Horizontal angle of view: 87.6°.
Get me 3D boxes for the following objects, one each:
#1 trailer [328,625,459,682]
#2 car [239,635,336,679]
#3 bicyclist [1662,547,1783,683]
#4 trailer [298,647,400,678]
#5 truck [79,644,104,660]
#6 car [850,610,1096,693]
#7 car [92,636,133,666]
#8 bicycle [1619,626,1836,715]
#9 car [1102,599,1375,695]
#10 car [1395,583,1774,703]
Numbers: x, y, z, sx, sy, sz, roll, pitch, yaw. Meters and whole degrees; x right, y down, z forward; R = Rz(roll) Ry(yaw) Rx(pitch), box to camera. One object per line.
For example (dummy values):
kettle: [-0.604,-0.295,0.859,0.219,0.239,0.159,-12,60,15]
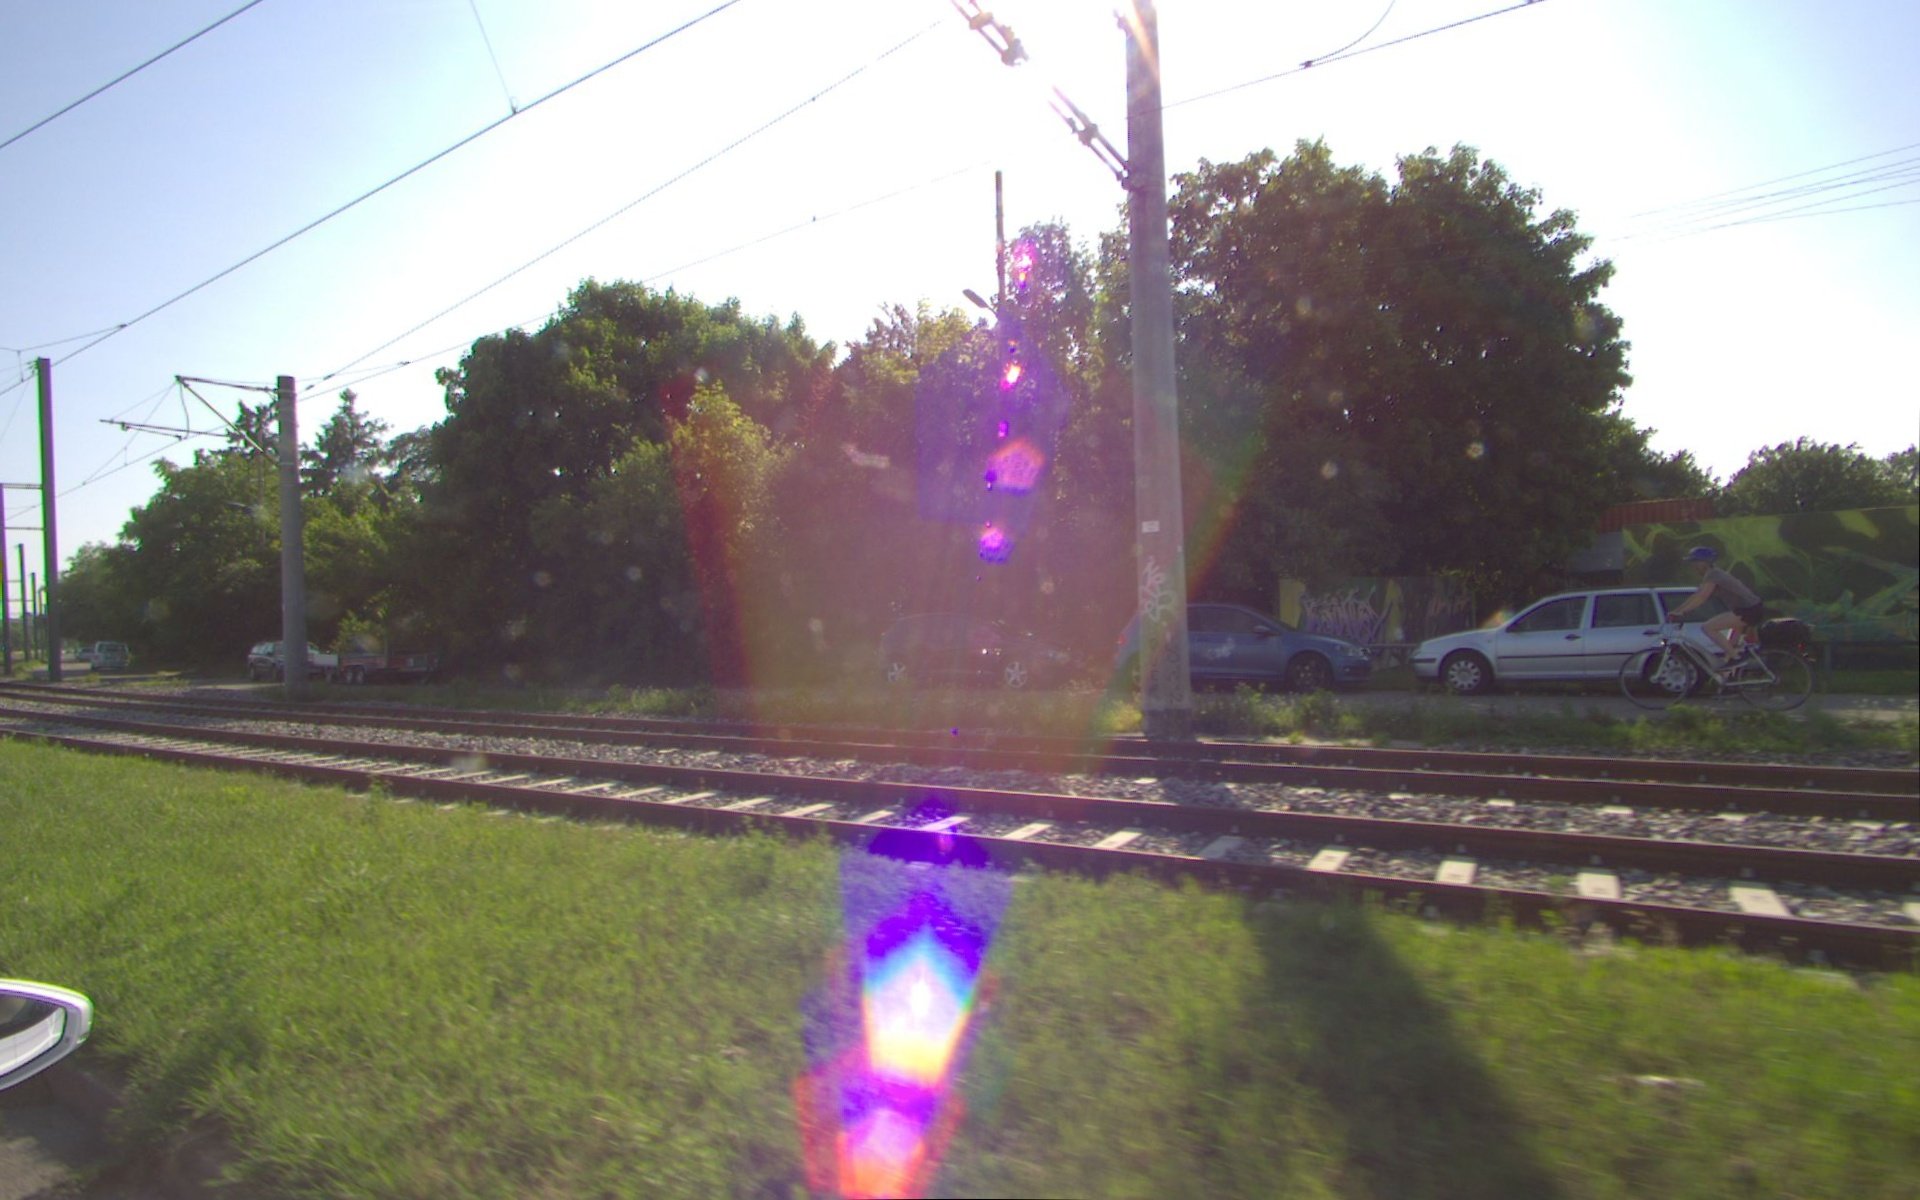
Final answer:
trailer: [-17.222,1.623,30.395,4.208,1.616,2.019,-3,-3,38]
car: [-24.142,2.017,35.871,4.826,1.474,1.691,-2,-3,41]
bicyclist: [8.438,0.173,11.118,0.948,1.440,0.628,-2,-1,29]
trailer: [-20.195,2.047,33.067,3.683,0.951,1.725,-3,-4,39]
truck: [-108.625,6.538,125.221,2.188,1.842,5.877,-1,-1,-42]
car: [0.200,0.970,18.997,4.455,1.428,1.621,-2,-2,30]
car: [-58.795,3.555,69.438,1.980,2.029,5.021,2,-4,-43]
bicycle: [8.445,0.767,11.119,1.816,0.921,0.642,-2,-1,29]
car: [4.534,0.756,16.438,4.086,1.419,1.483,-2,0,28]
car: [8.677,0.584,14.262,4.328,1.484,1.705,-2,0,33]
